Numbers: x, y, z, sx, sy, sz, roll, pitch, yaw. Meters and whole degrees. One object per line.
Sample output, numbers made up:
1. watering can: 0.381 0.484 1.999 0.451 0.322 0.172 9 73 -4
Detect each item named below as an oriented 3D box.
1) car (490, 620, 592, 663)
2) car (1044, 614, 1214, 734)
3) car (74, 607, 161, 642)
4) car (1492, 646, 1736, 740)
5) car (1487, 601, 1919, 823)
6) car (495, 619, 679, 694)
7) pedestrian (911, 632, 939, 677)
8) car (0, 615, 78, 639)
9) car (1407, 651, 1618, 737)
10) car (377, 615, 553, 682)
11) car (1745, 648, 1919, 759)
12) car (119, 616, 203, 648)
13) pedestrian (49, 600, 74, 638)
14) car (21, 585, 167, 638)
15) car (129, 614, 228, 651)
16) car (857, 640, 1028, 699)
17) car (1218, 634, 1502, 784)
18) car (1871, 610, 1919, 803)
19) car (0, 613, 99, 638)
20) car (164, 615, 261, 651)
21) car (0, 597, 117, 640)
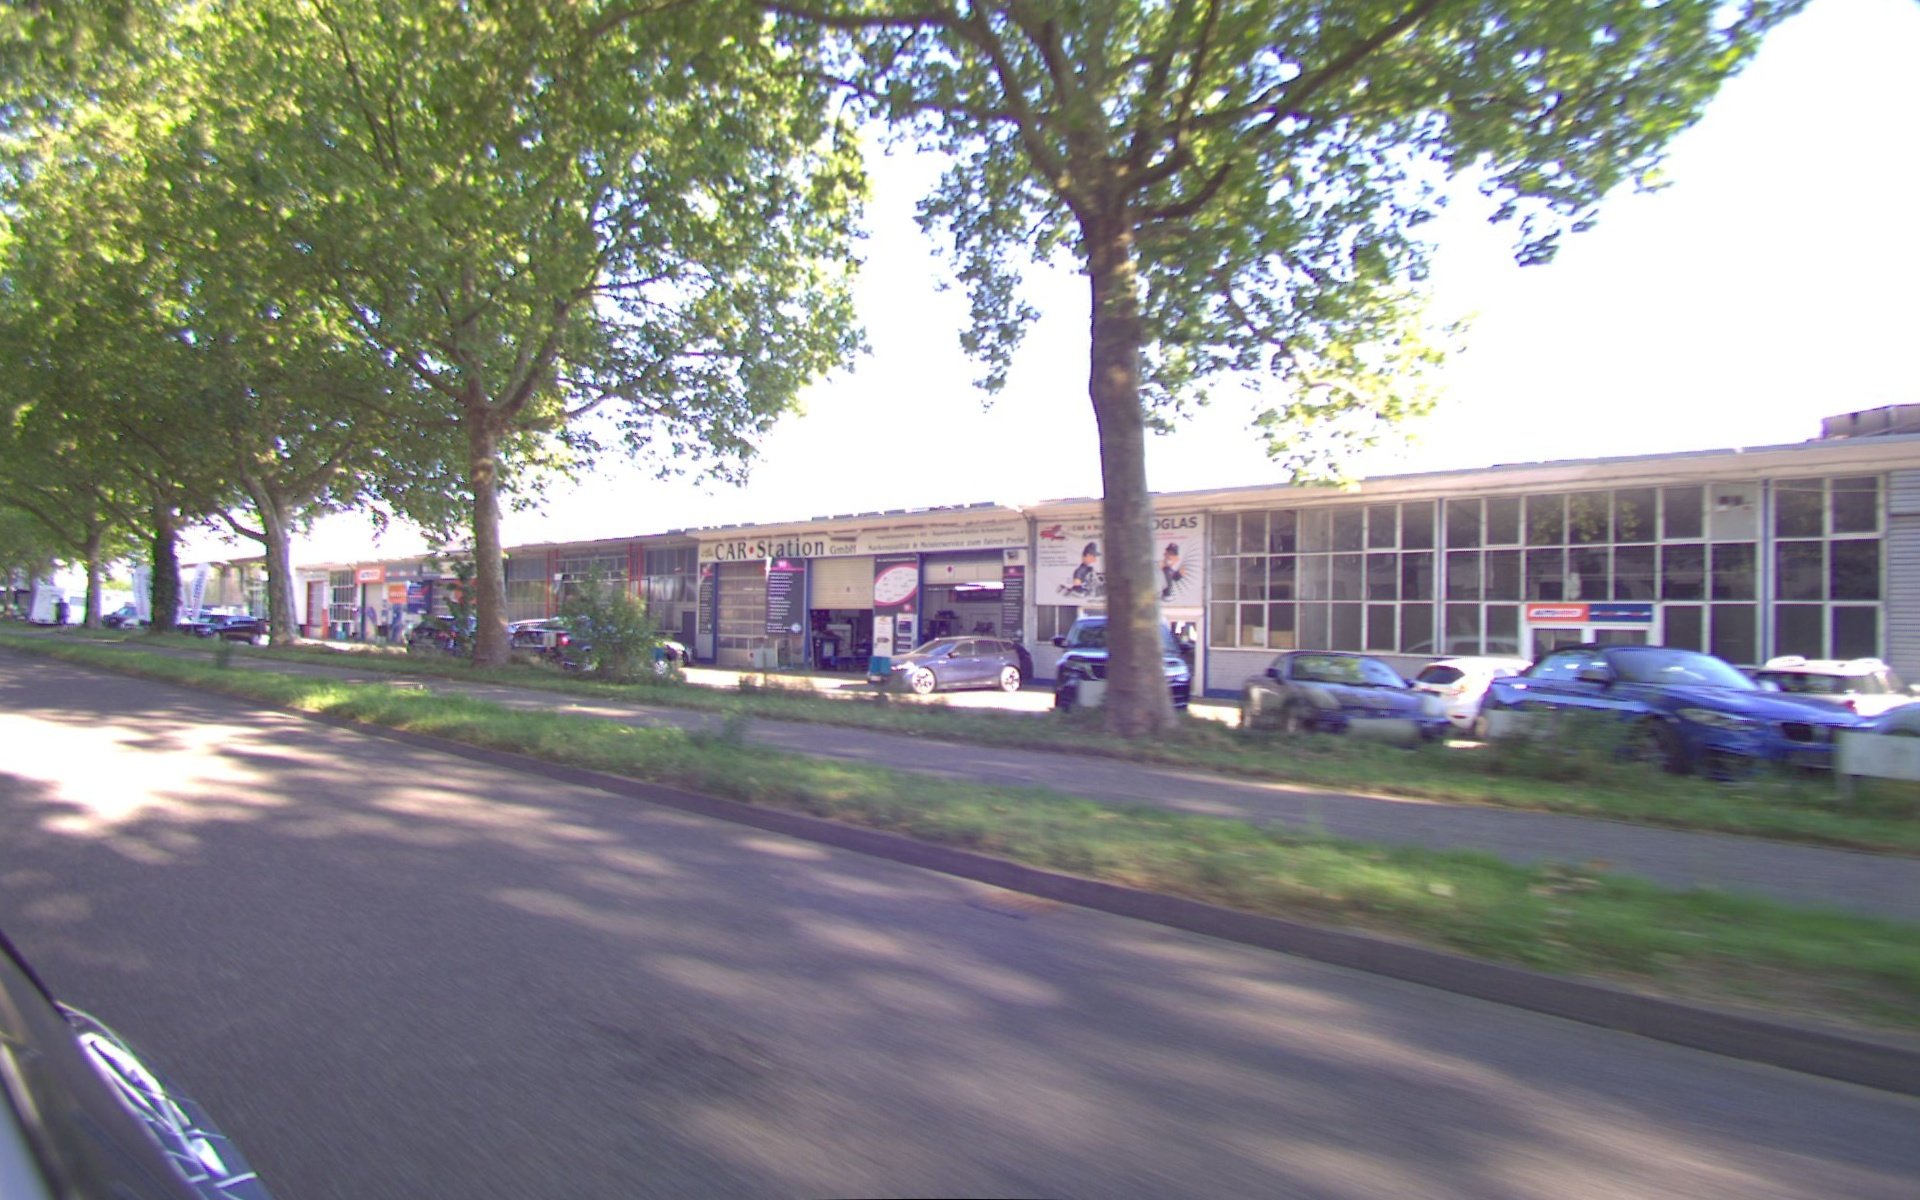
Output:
1. car: -17.743 1.721 42.979 3.930 1.719 2.007 0 0 -22
2. car: 2.307 0.955 14.909 1.973 1.463 4.259 0 0 3
3. car: -46.615 1.318 56.092 1.967 1.854 4.259 0 0 -12
4. car: 11.252 1.560 17.507 3.244 1.417 1.713 0 0 -11
5. car: 7.209 0.898 10.076 1.974 1.763 3.996 0 0 3
6. car: -8.834 1.273 24.404 1.983 1.541 4.326 0 0 17
7. pedestrian: -1.188 1.840 34.208 0.684 1.483 0.686 0 0 -41
8. car: -80.367 2.332 86.979 2.708 1.693 6.321 -1 -6 22
9. car: 10.281 1.709 18.902 3.242 1.395 1.557 0 0 -14
10. car: -14.640 1.358 30.293 1.983 1.773 4.872 0 0 17
11. car: 14.017 1.521 15.678 3.241 1.417 1.714 0 0 -27
12. car: -42.808 1.670 54.322 1.967 1.582 4.061 0 0 -12
13. pedestrian: -42.935 0.883 48.346 0.940 1.786 0.795 0 0 43
14. car: -56.046 0.836 65.787 2.575 2.875 6.931 0 -5 12
15. car: -40.329 1.637 52.377 1.971 1.764 4.315 0 0 -3
16. car: -0.429 1.834 27.778 4.403 1.331 2.004 0 0 -38
17. car: 4.637 1.188 12.519 1.973 1.392 4.259 0 0 3
18. car: 9.665 0.940 7.369 1.969 1.712 4.268 0 0 -6
19. car: -77.633 2.214 85.856 2.708 1.693 6.373 -1 -6 22
20. car: -35.074 1.527 47.634 1.970 1.586 3.847 0 0 -5
21. car: -63.806 1.349 71.411 2.574 2.516 6.302 0 -5 11
